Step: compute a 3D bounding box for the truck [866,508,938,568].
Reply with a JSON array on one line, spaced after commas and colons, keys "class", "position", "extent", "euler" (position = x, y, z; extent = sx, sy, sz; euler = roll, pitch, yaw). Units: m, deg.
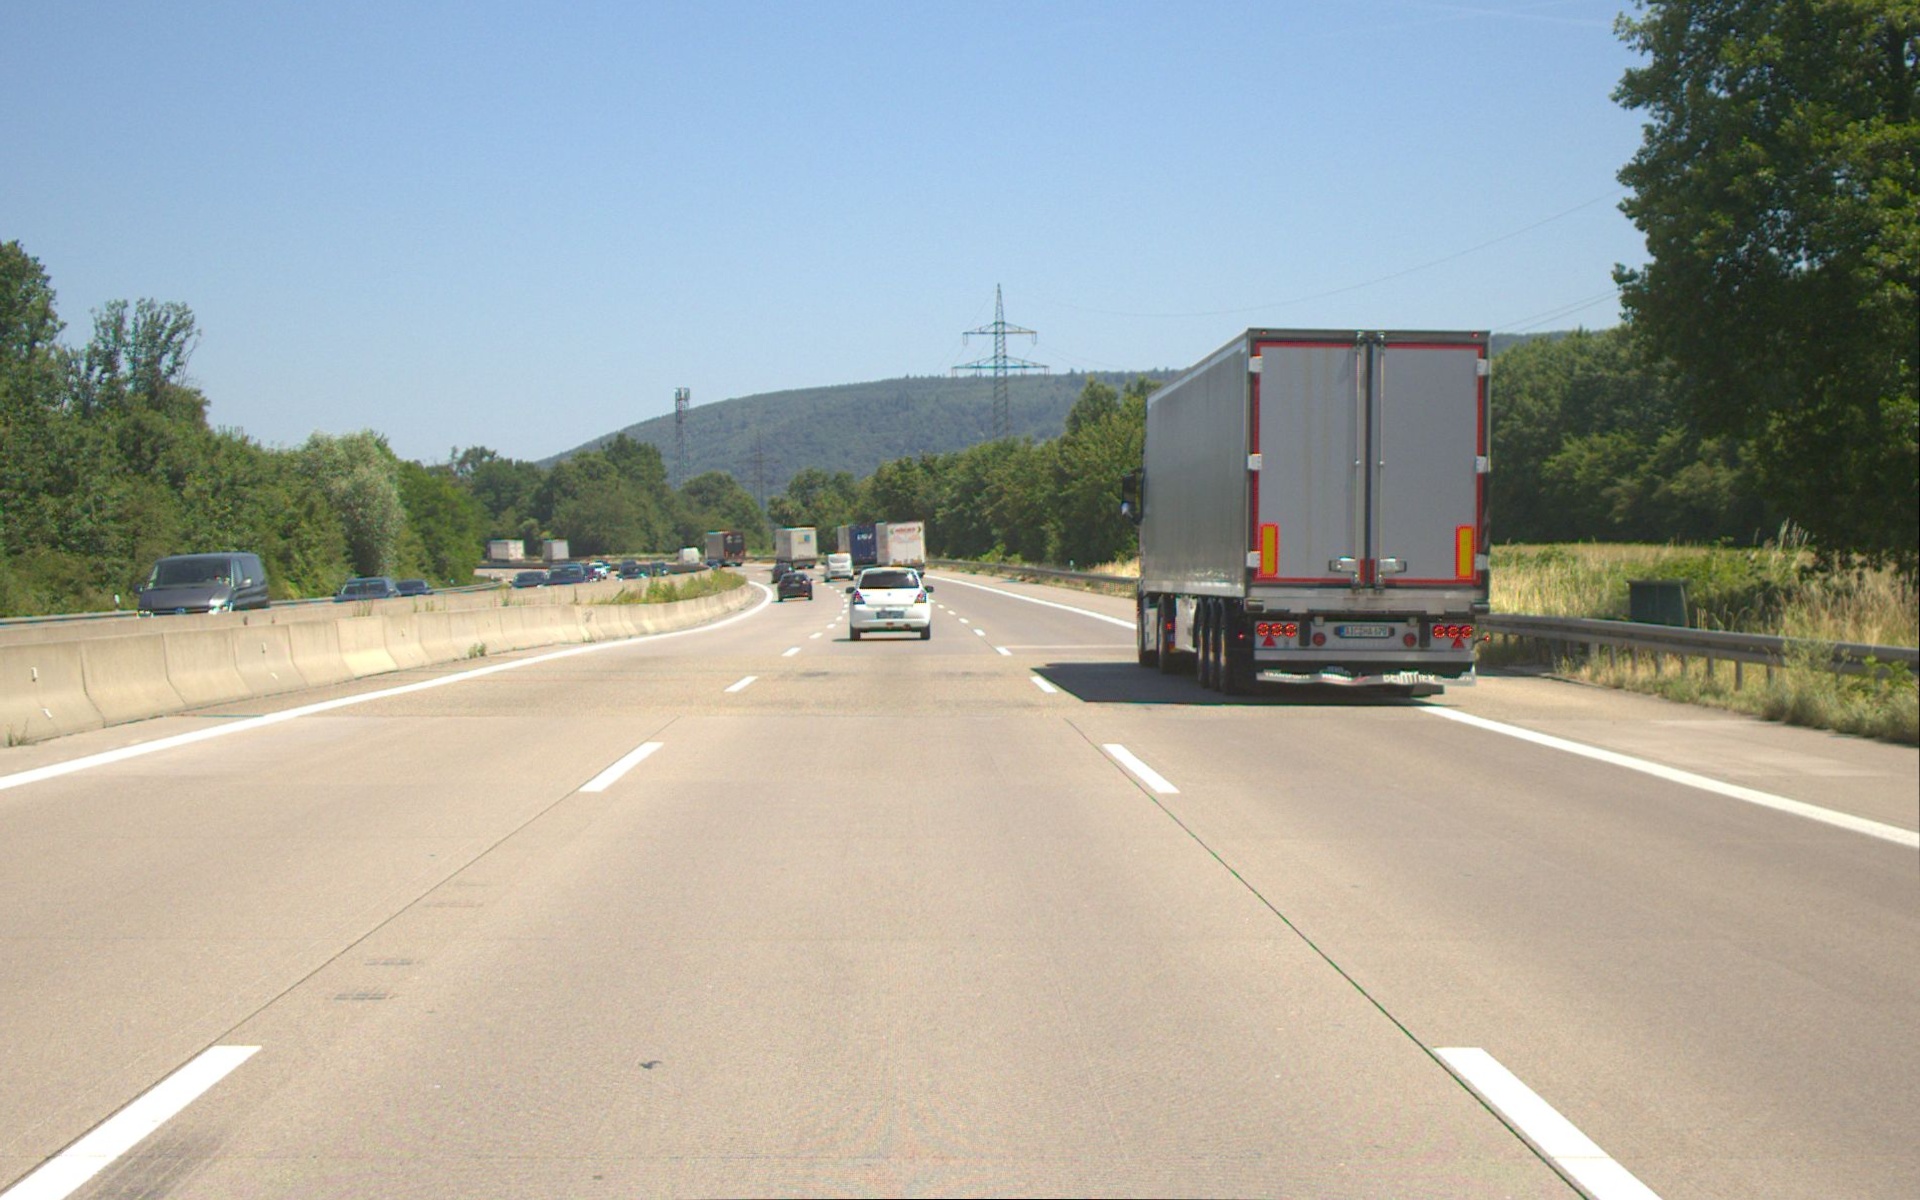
[{"class": "truck", "position": [-4.150, -4.370, 242.889], "extent": [3.820, 3.876, 14.155], "euler": [-4, 1, -5]}]

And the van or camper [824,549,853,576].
[{"class": "van or camper", "position": [-8.809, -2.730, 249.076], "extent": [1.867, 1.831, 4.001], "euler": [-4, 1, -3]}]

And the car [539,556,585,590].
[{"class": "car", "position": [-17.034, -1.159, 147.316], "extent": [1.560, 1.413, 3.523], "euler": [-1, 1, 0]}]

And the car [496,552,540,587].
[{"class": "car", "position": [-21.164, -1.469, 164.821], "extent": [1.703, 1.652, 4.407], "euler": [-1, 1, -2]}]

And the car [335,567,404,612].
[{"class": "car", "position": [-19.140, -0.359, 111.570], "extent": [1.631, 1.414, 3.523], "euler": [-1, 1, 0]}]

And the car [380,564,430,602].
[{"class": "car", "position": [-24.940, -0.755, 154.655], "extent": [1.703, 1.652, 4.091], "euler": [-1, 0, -2]}]

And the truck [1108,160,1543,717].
[{"class": "truck", "position": [4.195, -1.881, 44.857], "extent": [3.577, 5.767, 18.248], "euler": [0, 1, 0]}]

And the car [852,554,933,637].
[{"class": "car", "position": [-1.401, -0.120, 72.149], "extent": [1.641, 1.656, 3.360], "euler": [1, 1, -1]}]

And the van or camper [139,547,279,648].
[{"class": "van or camper", "position": [-14.519, -0.077, 66.676], "extent": [1.847, 1.875, 4.417], "euler": [-1, 1, -2]}]

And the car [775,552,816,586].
[{"class": "car", "position": [-8.535, -1.633, 178.424], "extent": [2.022, 1.695, 4.001], "euler": [1, 1, -4]}]
